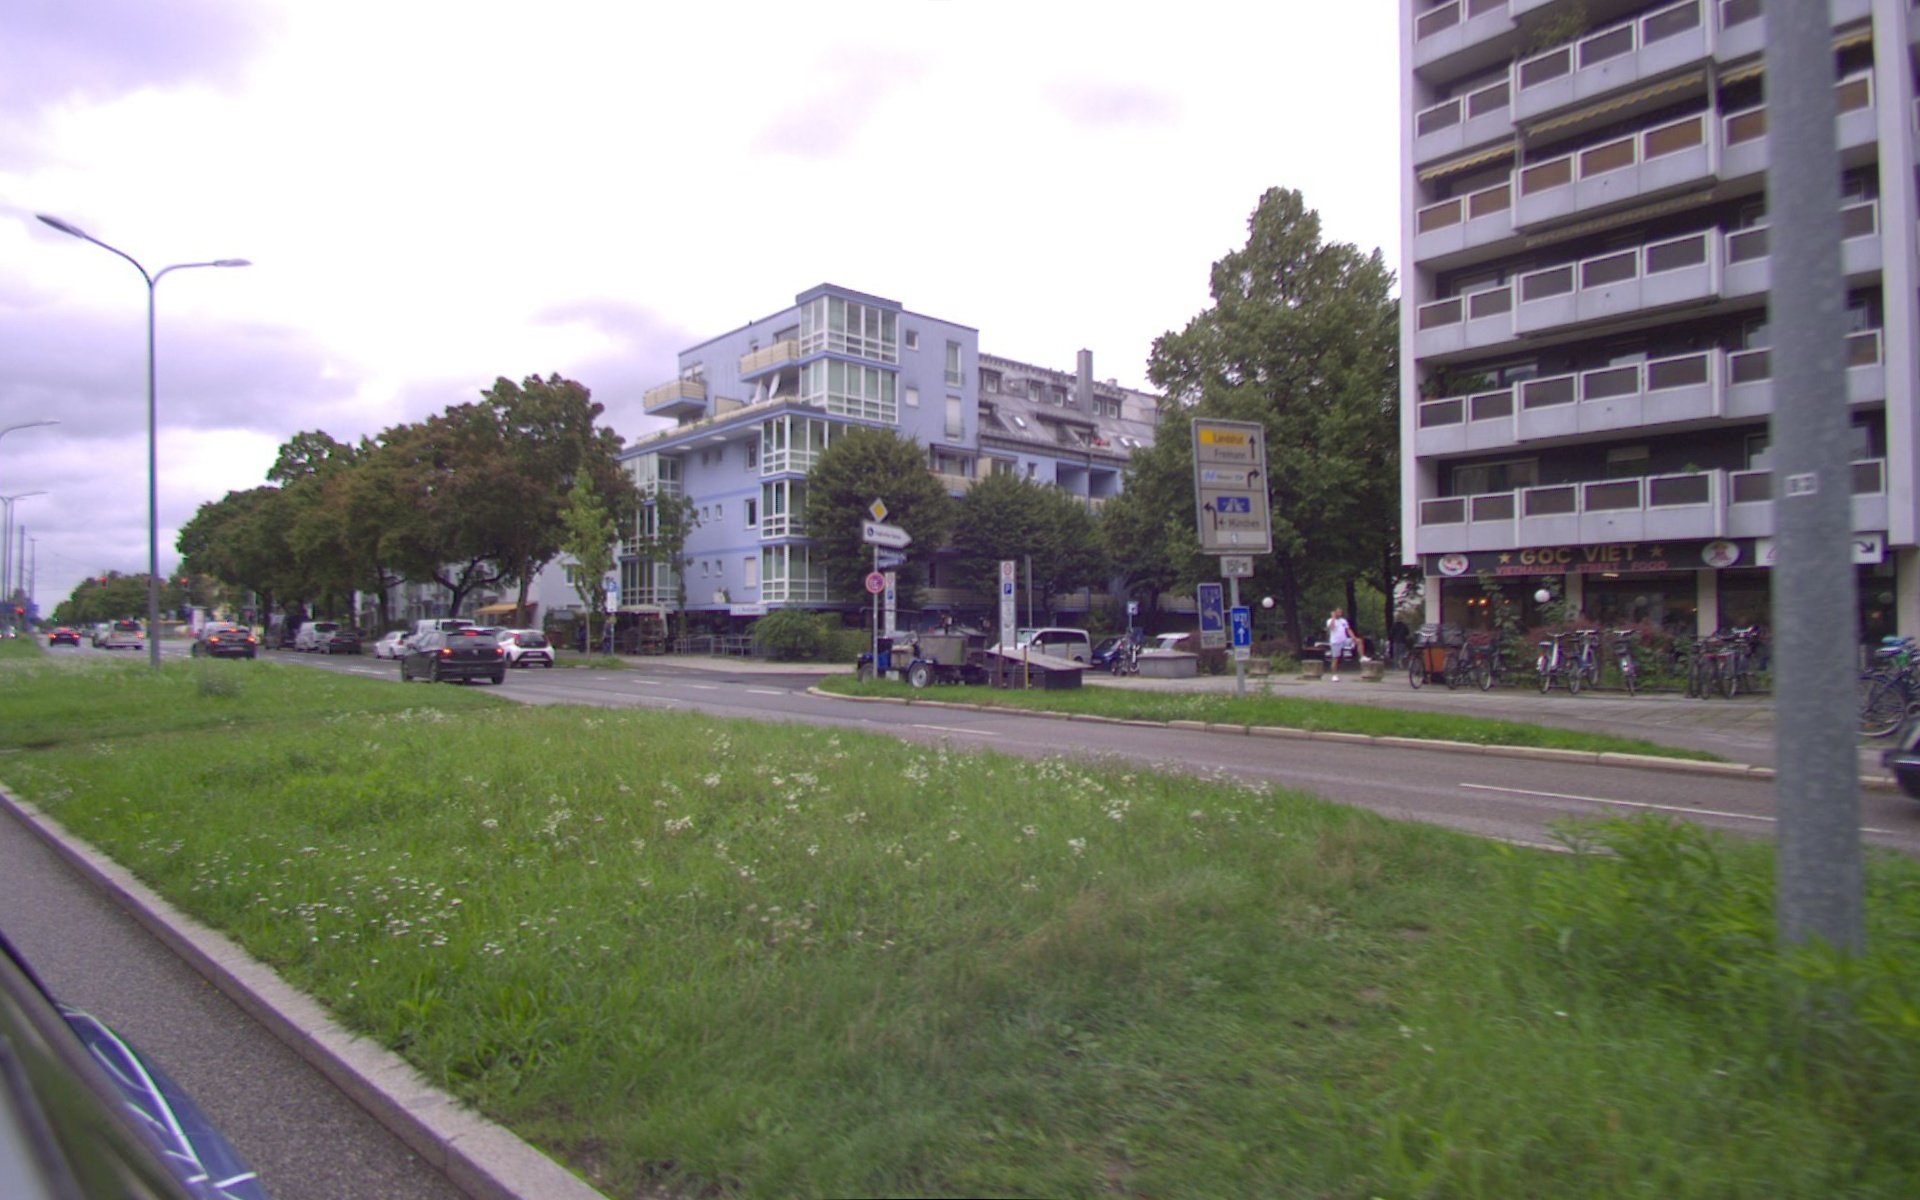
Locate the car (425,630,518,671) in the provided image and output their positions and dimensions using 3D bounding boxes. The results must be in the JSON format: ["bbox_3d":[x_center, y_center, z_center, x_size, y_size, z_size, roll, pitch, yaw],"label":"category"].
[{"bbox_3d":[-20.603,2.087,42.601,4.659,1.628,1.682,-2,-3,39],"label":"car"}]

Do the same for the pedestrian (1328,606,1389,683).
[{"bbox_3d":[9.151,1.009,23.251,1.130,1.721,0.661,-2,-3,41],"label":"pedestrian"}]

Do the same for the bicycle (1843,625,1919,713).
[{"bbox_3d":[12.737,0.885,13.050,0.403,1.112,1.957,-4,1,-41],"label":"bicycle"}]

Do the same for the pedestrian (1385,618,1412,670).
[{"bbox_3d":[13.945,1.394,32.189,0.700,1.611,0.742,-1,-2,28],"label":"pedestrian"}]

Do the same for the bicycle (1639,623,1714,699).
[{"bbox_3d":[12.565,1.040,17.730,1.924,1.111,0.561,-4,1,-40],"label":"bicycle"}]

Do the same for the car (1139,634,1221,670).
[{"bbox_3d":[10.891,2.543,49.953,2.001,1.695,4.199,-2,-3,45],"label":"car"}]

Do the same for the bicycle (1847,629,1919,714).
[{"bbox_3d":[13.108,0.950,13.409,0.403,1.105,1.957,-4,1,-41],"label":"bicycle"}]

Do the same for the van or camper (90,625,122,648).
[{"bbox_3d":[-69.815,2.978,82.749,1.770,1.811,4.129,2,-3,-43],"label":"van or camper"}]

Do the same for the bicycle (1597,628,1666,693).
[{"bbox_3d":[12.084,1.061,18.195,1.923,1.112,0.490,1,-3,-40],"label":"bicycle"}]

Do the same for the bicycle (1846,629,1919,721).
[{"bbox_3d":[11.995,0.907,12.155,0.403,1.080,1.957,-4,1,-41],"label":"bicycle"}]

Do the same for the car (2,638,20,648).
[{"bbox_3d":[-120.165,5.399,128.138,1.567,1.276,3.738,2,-3,-43],"label":"car"}]

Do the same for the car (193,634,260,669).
[{"bbox_3d":[-32.810,2.266,45.238,1.934,1.491,4.263,2,-3,-43],"label":"car"}]

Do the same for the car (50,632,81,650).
[{"bbox_3d":[-72.781,3.337,82.326,1.736,1.459,3.675,2,-3,-43],"label":"car"}]

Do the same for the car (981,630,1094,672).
[{"bbox_3d":[3.366,2.115,43.198,2.001,1.695,5.043,-2,-3,45],"label":"car"}]

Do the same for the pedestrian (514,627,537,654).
[{"bbox_3d":[-25.811,2.418,60.104,0.965,1.615,0.764,0,-2,11],"label":"pedestrian"}]

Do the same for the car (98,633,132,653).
[{"bbox_3d":[-63.894,3.222,76.514,1.770,1.459,3.675,2,-3,-43],"label":"car"}]

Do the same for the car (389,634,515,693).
[{"bbox_3d":[-13.417,1.610,26.633,4.104,1.416,1.762,-2,-3,45],"label":"car"}]

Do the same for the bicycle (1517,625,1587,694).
[{"bbox_3d":[11.263,1.107,19.225,1.924,1.111,0.490,-4,1,-40],"label":"bicycle"}]

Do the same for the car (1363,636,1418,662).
[{"bbox_3d":[27.915,3.157,65.532,1.938,1.605,3.941,-2,-3,45],"label":"car"}]

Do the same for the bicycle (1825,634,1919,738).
[{"bbox_3d":[10.768,0.935,10.934,0.403,1.097,2.087,-4,1,-41],"label":"bicycle"}]

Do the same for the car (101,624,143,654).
[{"bbox_3d":[-57.623,2.680,69.585,1.916,2.013,4.709,2,-3,-43],"label":"car"}]

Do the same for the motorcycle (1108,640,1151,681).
[{"bbox_3d":[4.754,1.686,28.483,0.412,1.095,1.789,0,-2,-18],"label":"motorcycle"}]

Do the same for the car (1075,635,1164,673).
[{"bbox_3d":[7.489,2.468,47.278,2.001,1.695,4.199,-2,-3,45],"label":"car"}]

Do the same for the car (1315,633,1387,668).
[{"bbox_3d":[19.381,2.462,50.062,1.876,1.637,3.941,-2,-3,45],"label":"car"}]

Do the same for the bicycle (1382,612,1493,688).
[{"bbox_3d":[10.157,1.021,21.451,3.286,1.292,0.789,-5,1,-40],"label":"bicycle"}]

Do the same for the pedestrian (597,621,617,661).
[{"bbox_3d":[-16.361,1.899,46.911,0.634,1.819,0.781,2,-3,-39],"label":"pedestrian"}]

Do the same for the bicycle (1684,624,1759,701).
[{"bbox_3d":[12.935,1.030,17.171,1.924,1.111,0.561,-4,1,-40],"label":"bicycle"}]

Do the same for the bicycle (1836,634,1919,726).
[{"bbox_3d":[11.564,0.939,11.817,0.403,1.048,1.957,-4,1,-41],"label":"bicycle"}]

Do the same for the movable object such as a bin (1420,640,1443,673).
[{"bbox_3d":[14.011,1.673,30.051,0.536,0.972,0.369,-2,-3,39],"label":"movable object such as a bin"}]

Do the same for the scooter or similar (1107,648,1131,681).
[{"bbox_3d":[4.793,1.930,30.435,0.441,0.966,1.142,-1,-2,24],"label":"scooter or similar"}]

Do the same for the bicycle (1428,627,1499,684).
[{"bbox_3d":[10.226,1.097,20.531,1.923,1.112,0.561,1,-3,-40],"label":"bicycle"}]

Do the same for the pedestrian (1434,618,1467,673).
[{"bbox_3d":[14.299,1.322,29.491,0.650,1.597,0.668,2,-3,-45],"label":"pedestrian"}]

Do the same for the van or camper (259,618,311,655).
[{"bbox_3d":[-48.389,2.617,72.499,2.026,2.506,5.552,2,-3,-44],"label":"van or camper"}]

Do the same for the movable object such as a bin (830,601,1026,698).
[{"bbox_3d":[-0.762,1.076,22.650,3.998,1.968,2.170,-2,-3,41],"label":"movable object such as a bin"}]

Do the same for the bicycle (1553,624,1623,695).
[{"bbox_3d":[11.639,1.072,18.723,1.924,1.111,0.490,-4,1,-40],"label":"bicycle"}]

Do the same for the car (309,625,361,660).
[{"bbox_3d":[-37.764,2.540,61.128,1.775,2.013,4.551,2,-3,-43],"label":"car"}]

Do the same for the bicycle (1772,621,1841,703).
[{"bbox_3d":[13.640,0.965,16.288,1.924,1.111,0.490,-4,1,-40],"label":"bicycle"}]

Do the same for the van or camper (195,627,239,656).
[{"bbox_3d":[-54.787,3.029,74.580,1.992,2.031,5.203,2,-3,-43],"label":"van or camper"}]

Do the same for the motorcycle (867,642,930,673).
[{"bbox_3d":[-2.365,2.182,38.650,2.464,1.141,0.494,-1,-2,25],"label":"motorcycle"}]

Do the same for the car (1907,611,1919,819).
[{"bbox_3d":[8.851,0.790,6.490,1.672,1.496,3.970,2,-3,-44],"label":"car"}]

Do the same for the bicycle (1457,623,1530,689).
[{"bbox_3d":[10.594,1.086,20.071,1.924,1.111,0.561,-4,1,-40],"label":"bicycle"}]

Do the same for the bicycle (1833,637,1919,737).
[{"bbox_3d":[11.117,0.978,11.328,0.403,1.086,1.957,-4,1,-41],"label":"bicycle"}]

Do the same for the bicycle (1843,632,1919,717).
[{"bbox_3d":[12.358,0.932,12.620,0.403,1.037,1.957,-4,1,-41],"label":"bicycle"}]

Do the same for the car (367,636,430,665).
[{"bbox_3d":[-28.450,2.529,51.185,1.656,1.405,4.337,2,-3,-45],"label":"car"}]

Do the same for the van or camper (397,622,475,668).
[{"bbox_3d":[-24.180,2.047,46.596,1.783,1.983,5.215,2,-3,-44],"label":"van or camper"}]

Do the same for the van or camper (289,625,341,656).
[{"bbox_3d":[-41.830,2.623,65.597,1.996,1.957,4.709,2,-3,-43],"label":"van or camper"}]

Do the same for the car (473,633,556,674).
[{"bbox_3d":[-17.245,2.034,39.085,3.904,1.501,1.628,-2,-3,45],"label":"car"}]
